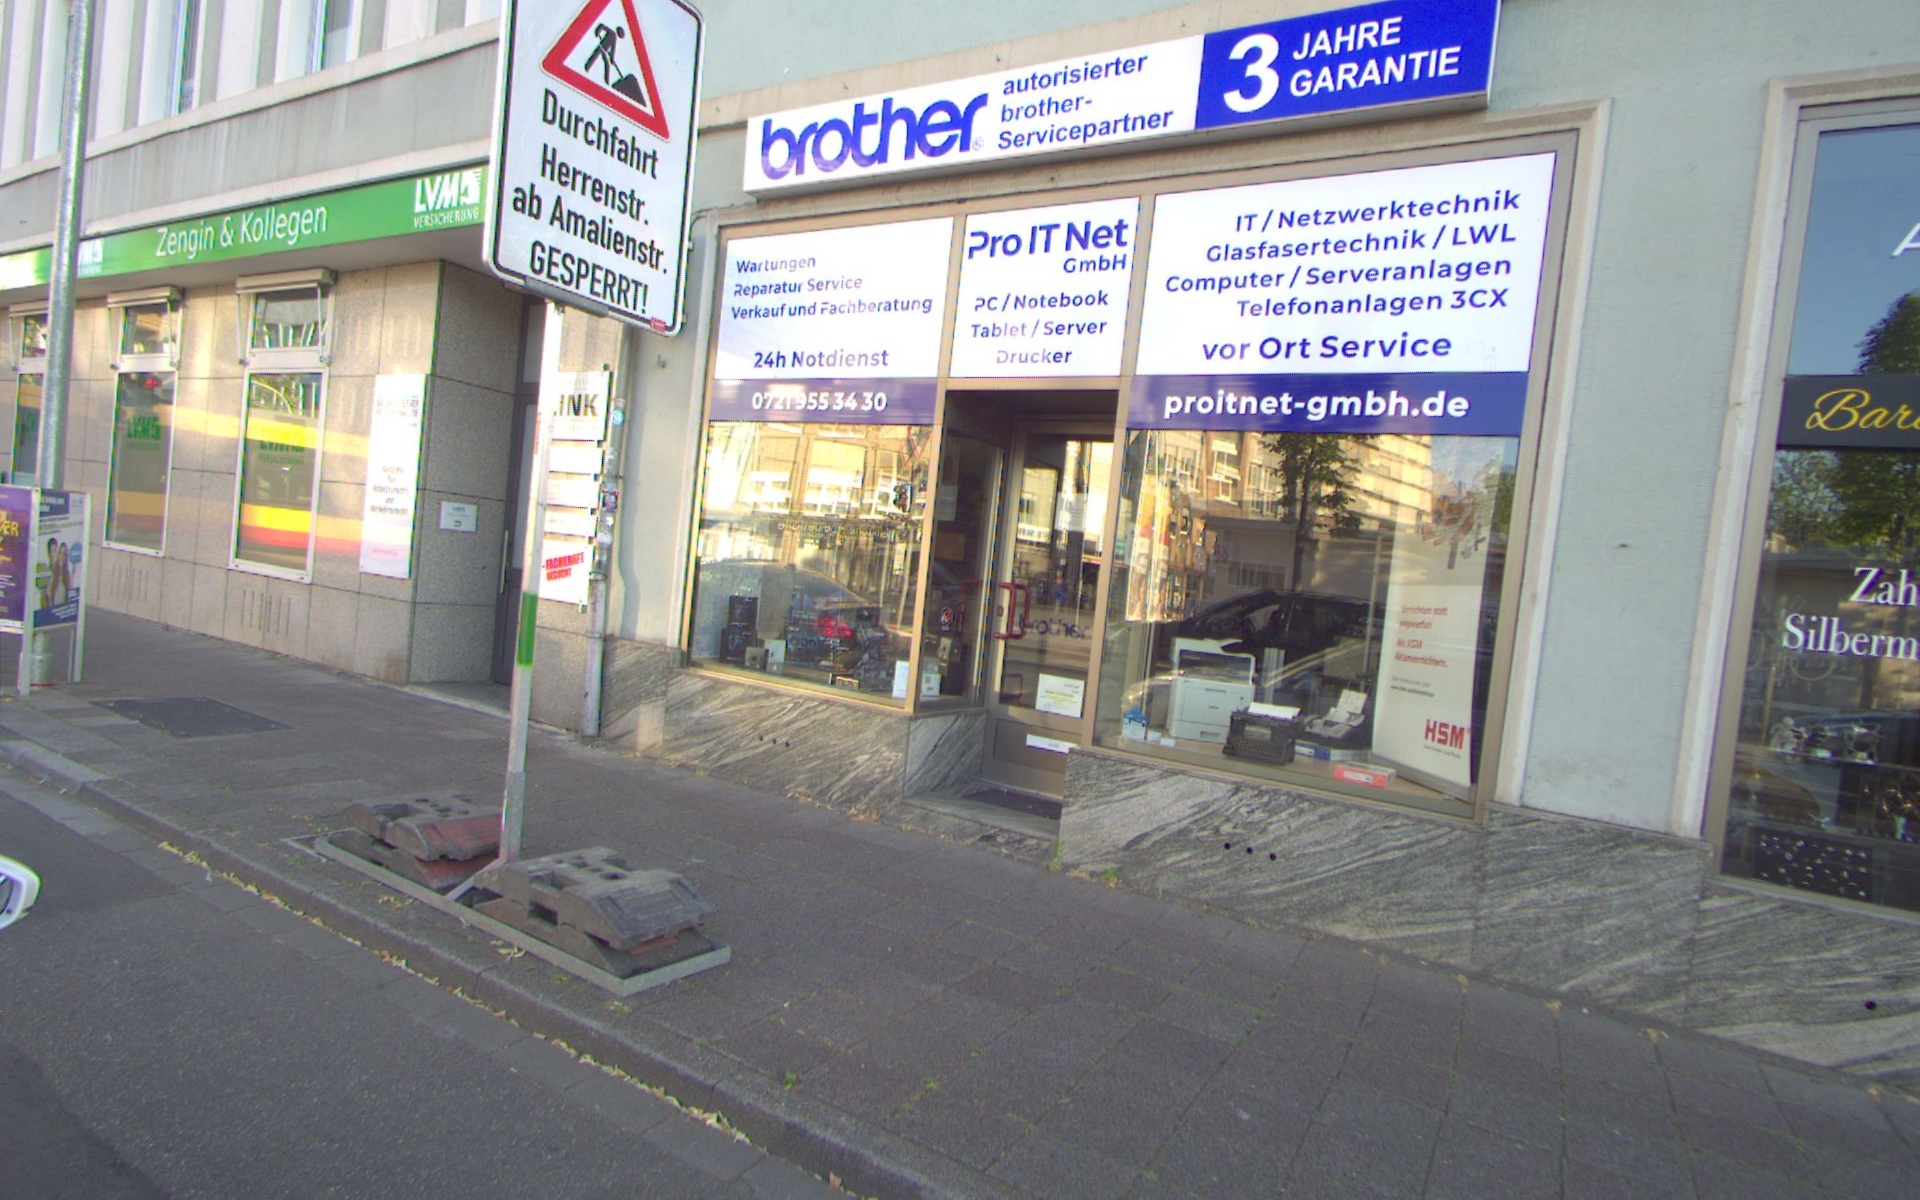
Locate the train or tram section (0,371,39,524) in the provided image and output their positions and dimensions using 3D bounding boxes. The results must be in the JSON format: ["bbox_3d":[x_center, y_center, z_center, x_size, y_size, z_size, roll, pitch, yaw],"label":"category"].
[{"bbox_3d":[-26.364,-4.033,21.608,3.024,3.861,10.452,6,1,2],"label":"train or tram section"}]
